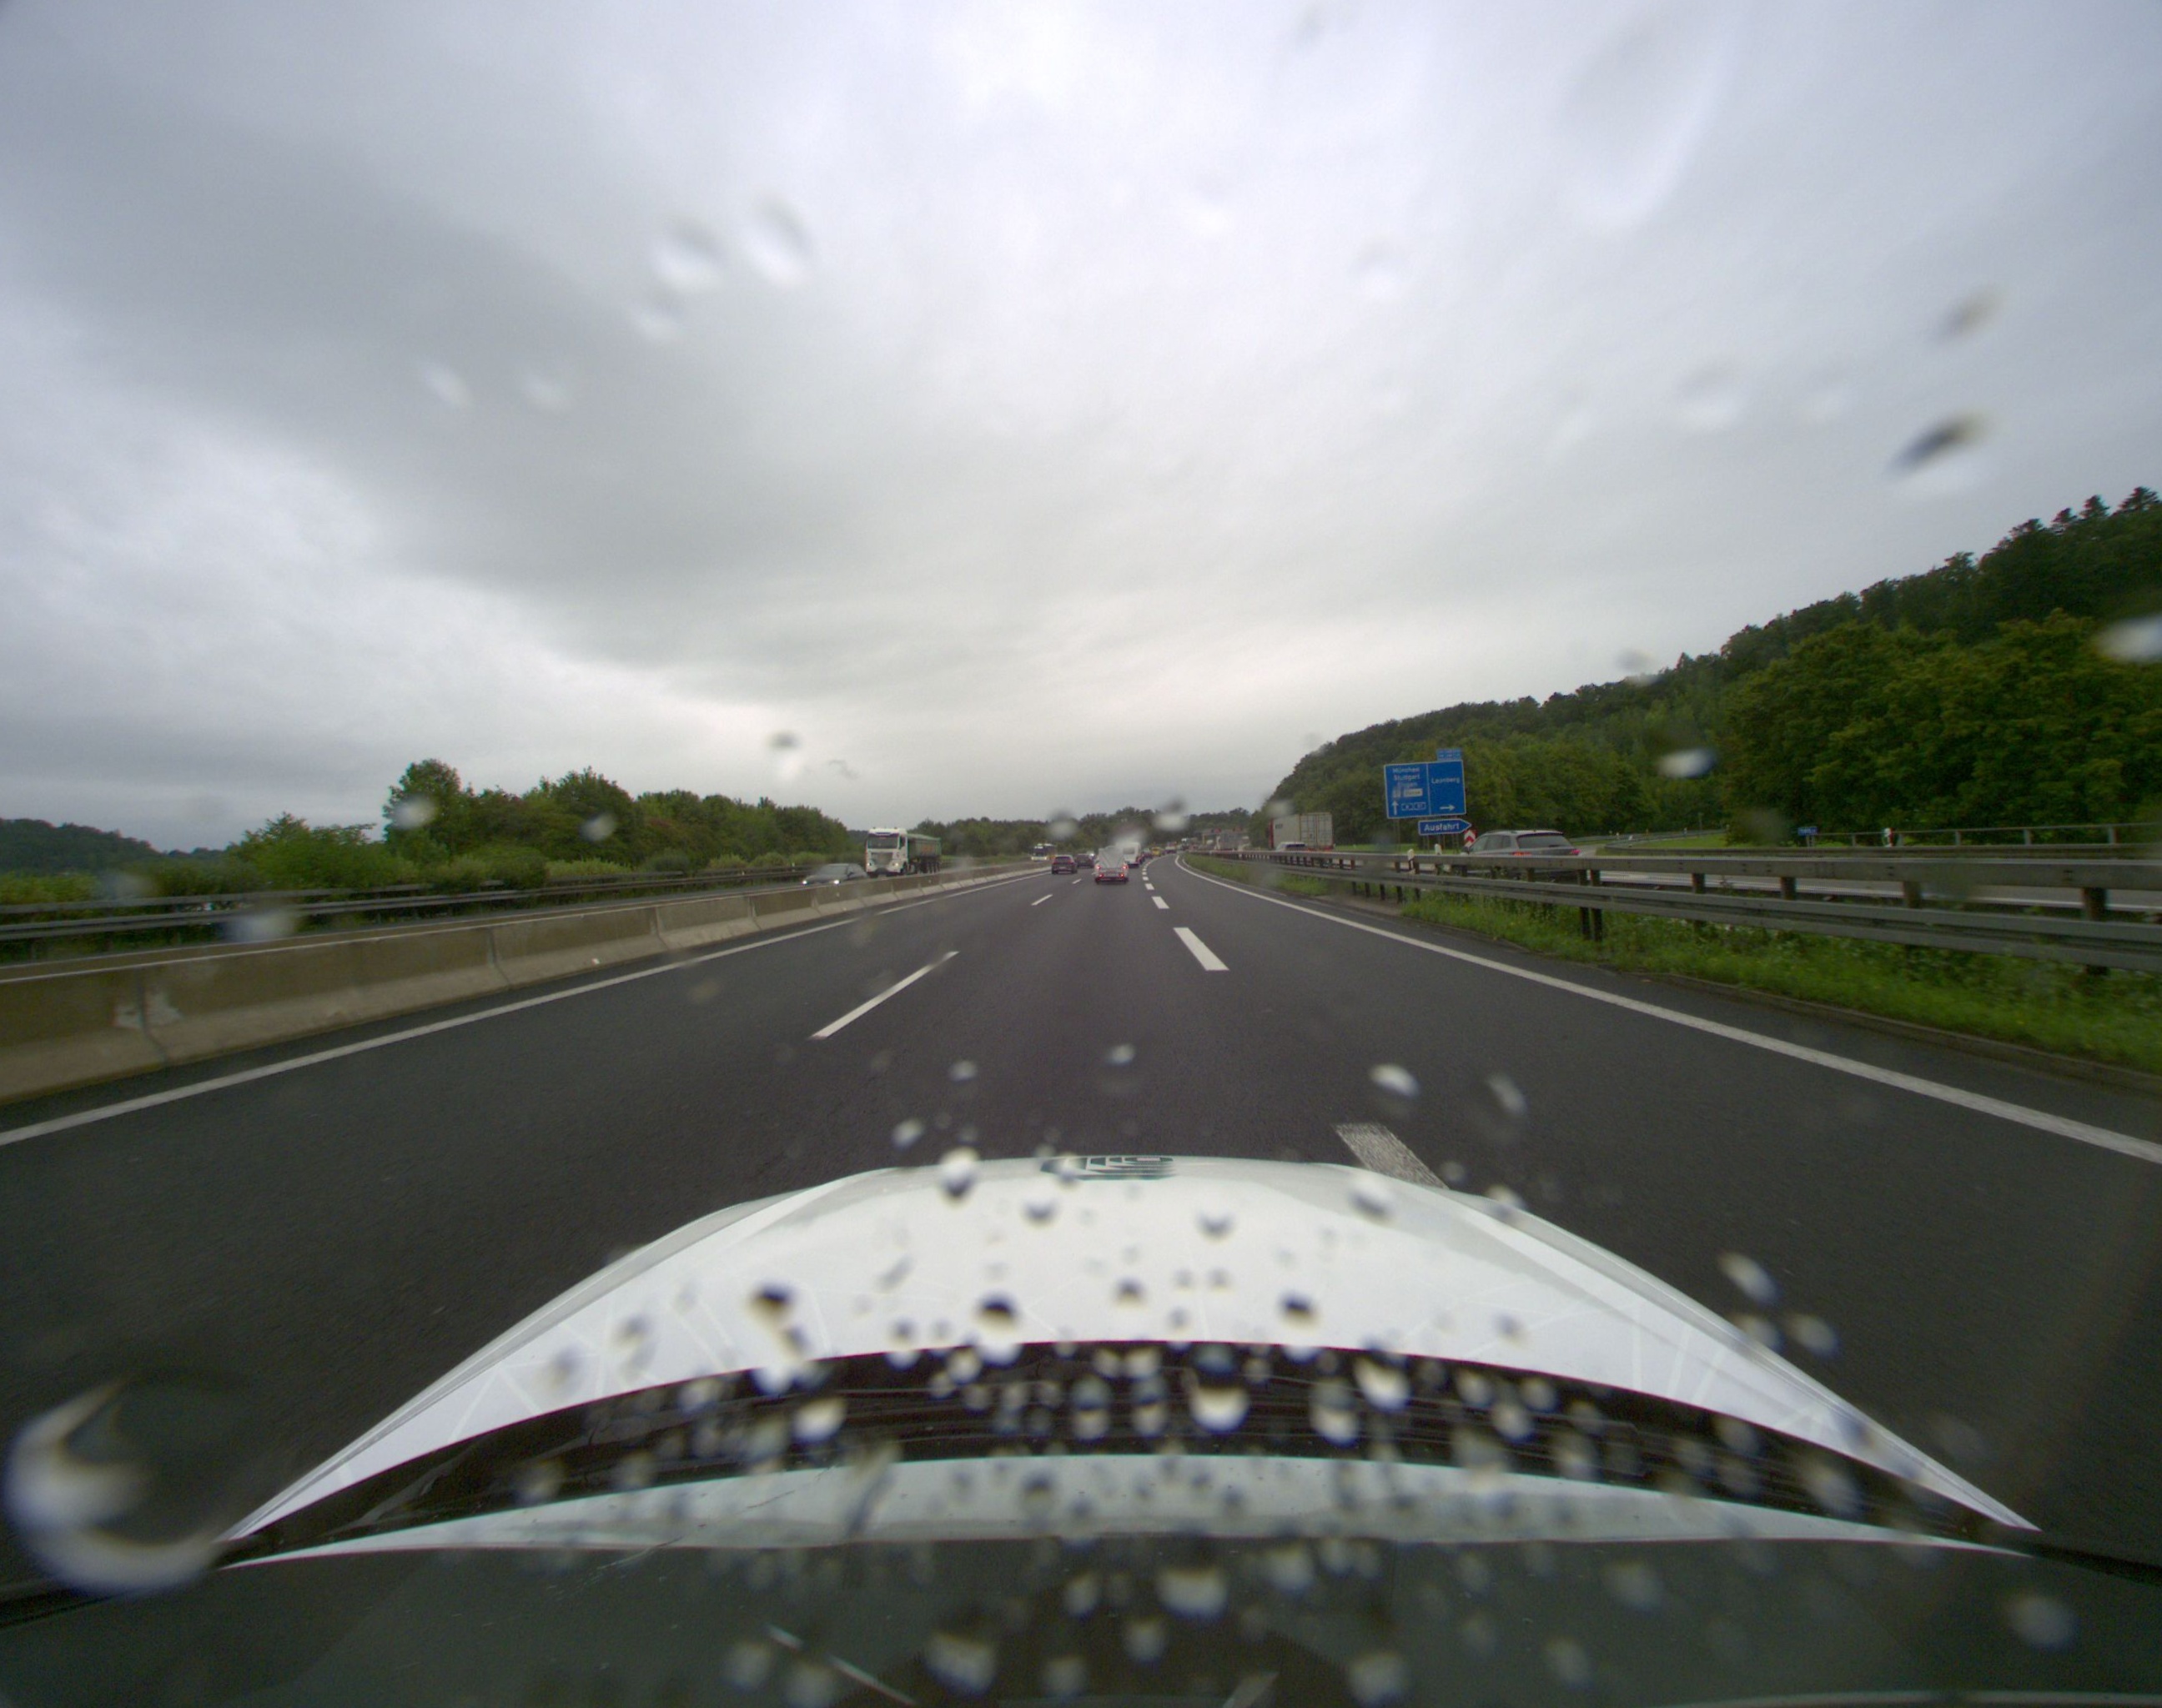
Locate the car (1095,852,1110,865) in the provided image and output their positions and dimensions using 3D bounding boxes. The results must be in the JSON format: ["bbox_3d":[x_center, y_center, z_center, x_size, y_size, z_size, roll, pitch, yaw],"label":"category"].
[{"bbox_3d":[2.819,0.608,104.964,1.768,1.640,4.047,-2,0,4],"label":"car"}]

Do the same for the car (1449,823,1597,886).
[{"bbox_3d":[11.280,0.023,21.129,1.660,1.382,4.128,-4,0,2],"label":"car"}]

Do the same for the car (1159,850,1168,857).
[{"bbox_3d":[19.823,-0.161,195.547,2.026,1.683,4.009,-2,0,8],"label":"car"}]

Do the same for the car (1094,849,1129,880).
[{"bbox_3d":[1.787,0.580,46.143,1.810,1.616,4.783,-2,0,4],"label":"car"}]

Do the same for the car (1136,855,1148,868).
[{"bbox_3d":[8.873,1.149,119.519,1.668,1.812,4.004,-2,0,4],"label":"car"}]

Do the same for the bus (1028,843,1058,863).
[{"bbox_3d":[-6.289,-0.179,137.645,2.684,2.958,11.923,-5,-1,8],"label":"bus"}]

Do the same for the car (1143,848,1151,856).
[{"bbox_3d":[17.332,-0.644,213.334,1.984,2.014,4.005,-2,0,4],"label":"car"}]

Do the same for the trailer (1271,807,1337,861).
[{"bbox_3d":[17.671,-1.440,65.416,2.592,3.894,12.503,-2,0,4],"label":"trailer"}]

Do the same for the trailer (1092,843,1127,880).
[{"bbox_3d":[1.545,0.376,42.537,1.668,1.812,4.004,-2,0,3],"label":"trailer"}]

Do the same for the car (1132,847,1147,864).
[{"bbox_3d":[7.348,0.172,101.983,1.668,2.067,4.005,-2,0,5],"label":"car"}]

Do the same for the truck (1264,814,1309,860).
[{"bbox_3d":[18.163,-1.432,72.335,2.604,3.884,6.398,-2,0,4],"label":"truck"}]

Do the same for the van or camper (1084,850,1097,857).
[{"bbox_3d":[1.991,-0.120,167.621,1.737,1.447,4.599,-4,0,10],"label":"van or camper"}]

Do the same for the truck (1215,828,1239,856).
[{"bbox_3d":[26.101,-2.111,146.051,3.199,4.666,13.054,-2,0,6],"label":"truck"}]

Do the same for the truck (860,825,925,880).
[{"bbox_3d":[-13.700,-0.108,59.758,2.874,3.749,5.951,-2,0,4],"label":"truck"}]

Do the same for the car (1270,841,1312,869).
[{"bbox_3d":[13.124,0.049,51.106,1.761,1.610,4.649,-2,0,5],"label":"car"}]

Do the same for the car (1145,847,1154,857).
[{"bbox_3d":[12.498,-0.294,148.756,1.668,1.812,4.004,-2,0,4],"label":"car"}]

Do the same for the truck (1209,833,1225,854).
[{"bbox_3d":[31.773,-2.299,190.142,3.195,4.666,13.071,-2,0,11],"label":"truck"}]

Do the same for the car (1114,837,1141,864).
[{"bbox_3d":[4.751,-0.375,82.854,2.496,2.585,5.707,-2,0,5],"label":"car"}]

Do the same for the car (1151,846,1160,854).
[{"bbox_3d":[16.094,-0.844,176.046,1.667,1.812,4.008,-2,0,7],"label":"car"}]

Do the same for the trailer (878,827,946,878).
[{"bbox_3d":[-13.302,-0.090,64.973,2.890,3.749,8.938,-2,0,4],"label":"trailer"}]

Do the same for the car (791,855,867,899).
[{"bbox_3d":[-11.502,0.999,37.491,1.888,1.876,4.544,-2,0,2],"label":"car"}]

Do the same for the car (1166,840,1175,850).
[{"bbox_3d":[25.029,-2.473,228.164,2.503,2.574,5.321,-2,0,6],"label":"car"}]

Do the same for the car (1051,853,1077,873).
[{"bbox_3d":[-1.287,0.683,63.368,1.668,1.456,4.004,-2,0,4],"label":"car"}]

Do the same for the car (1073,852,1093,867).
[{"bbox_3d":[0.241,0.556,83.092,1.757,1.456,4.004,-2,0,4],"label":"car"}]

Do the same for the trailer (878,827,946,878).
[{"bbox_3d":[-13.302,-0.090,64.973,2.890,3.749,8.938,-2,0,4],"label":"trailer"}]
